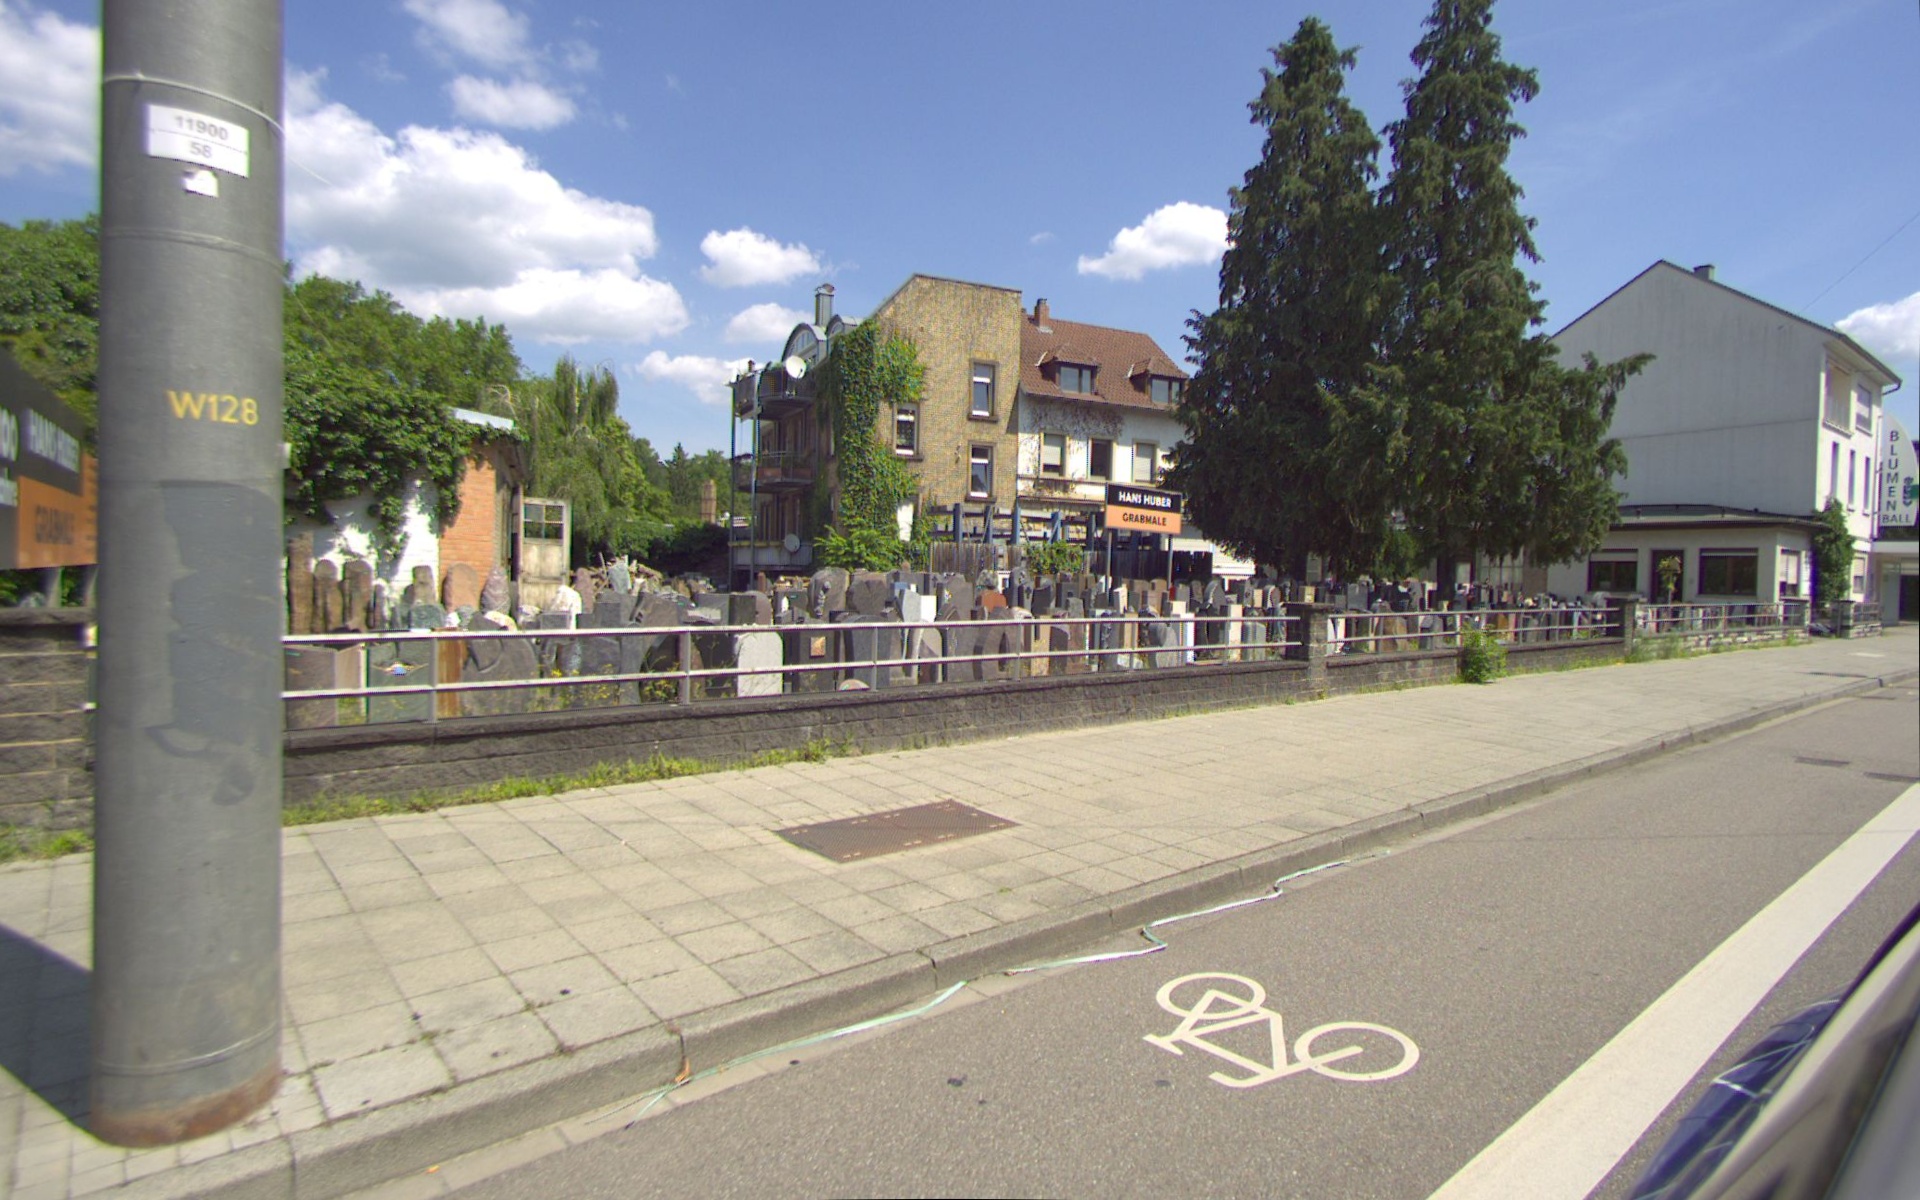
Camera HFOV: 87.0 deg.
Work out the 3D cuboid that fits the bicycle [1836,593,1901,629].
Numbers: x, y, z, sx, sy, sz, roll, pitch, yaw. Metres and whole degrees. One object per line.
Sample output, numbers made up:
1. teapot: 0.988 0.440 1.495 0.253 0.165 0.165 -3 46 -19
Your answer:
1. bicycle: 30.734 0.367 34.253 0.421 1.099 1.540 1 4 -32
